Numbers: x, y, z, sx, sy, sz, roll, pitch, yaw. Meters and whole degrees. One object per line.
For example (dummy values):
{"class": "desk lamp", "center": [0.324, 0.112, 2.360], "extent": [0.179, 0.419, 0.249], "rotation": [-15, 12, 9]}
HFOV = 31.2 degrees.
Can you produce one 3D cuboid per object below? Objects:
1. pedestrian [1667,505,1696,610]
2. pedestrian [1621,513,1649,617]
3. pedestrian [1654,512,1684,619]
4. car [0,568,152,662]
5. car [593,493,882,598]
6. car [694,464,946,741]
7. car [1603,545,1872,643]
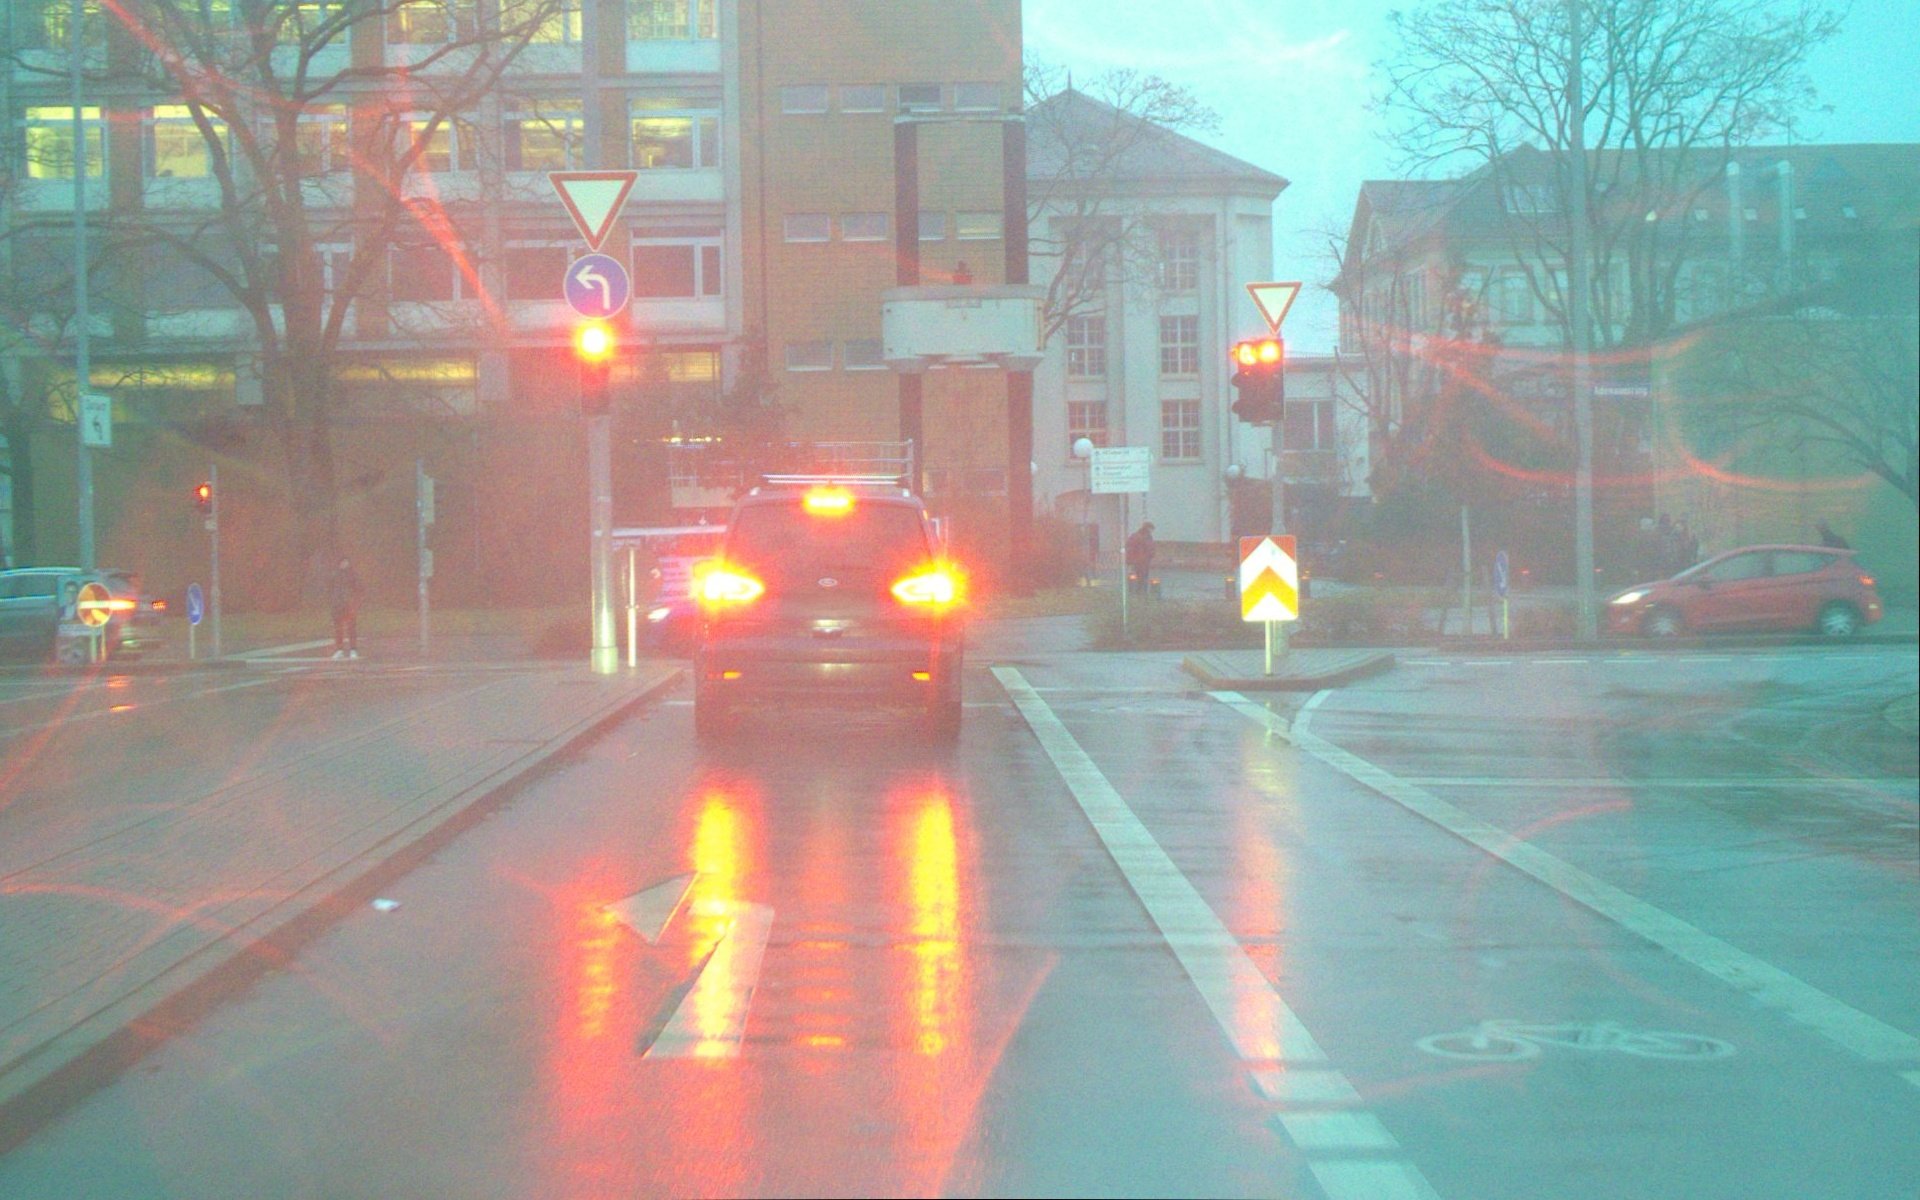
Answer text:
{"class": "pedestrian", "center": [12.690, -0.746, 60.456], "extent": [0.438, 1.832, 0.459], "rotation": [0, -1, 18]}
{"class": "pedestrian", "center": [11.922, -0.617, 60.716], "extent": [0.438, 1.832, 0.459], "rotation": [0, -1, 17]}
{"class": "pedestrian", "center": [12.257, -0.592, 59.456], "extent": [0.458, 1.832, 0.438], "rotation": [0, -1, 17]}
{"class": "car", "center": [-15.174, 0.238, 55.485], "extent": [3.918, 1.480, 1.468], "rotation": [0, -1, 15]}
{"class": "car", "center": [-4.459, -1.080, 69.343], "extent": [5.548, 2.017, 1.999], "rotation": [1, -1, 5]}
{"class": "car", "center": [-0.962, -0.033, 24.718], "extent": [1.647, 1.812, 4.000], "rotation": [1, 1, -1]}
{"class": "car", "center": [11.397, -0.083, 50.550], "extent": [3.791, 1.393, 1.564], "rotation": [1, -1, 12]}
